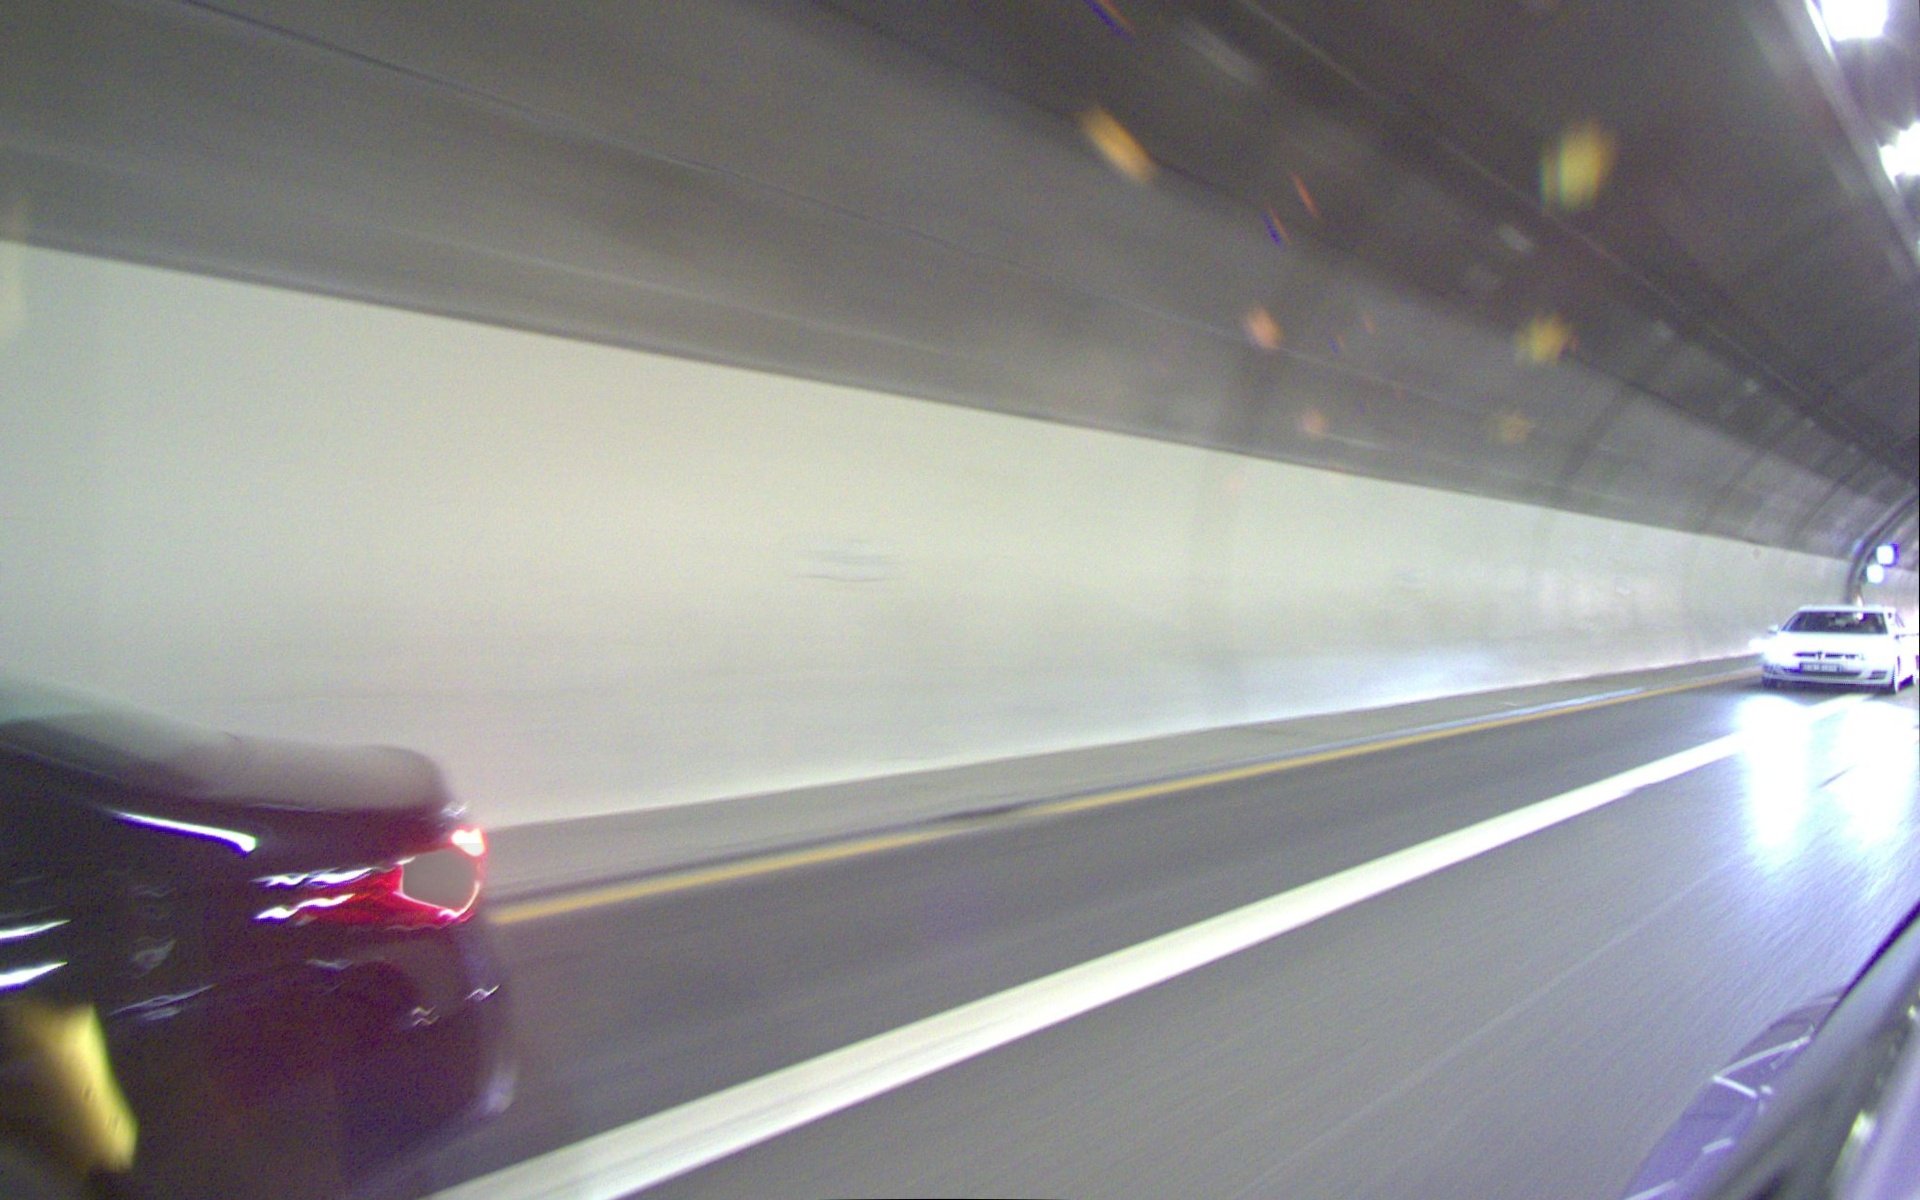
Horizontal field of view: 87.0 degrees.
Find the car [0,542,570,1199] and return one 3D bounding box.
[{"bbox_3d":[-3.240,0.681,1.167,4.867,1.491,1.929,0,0,-41],"label":"car"}]

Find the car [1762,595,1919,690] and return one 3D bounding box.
[{"bbox_3d":[15.723,0.665,17.750,3.962,1.479,1.801,0,0,-39],"label":"car"}]
